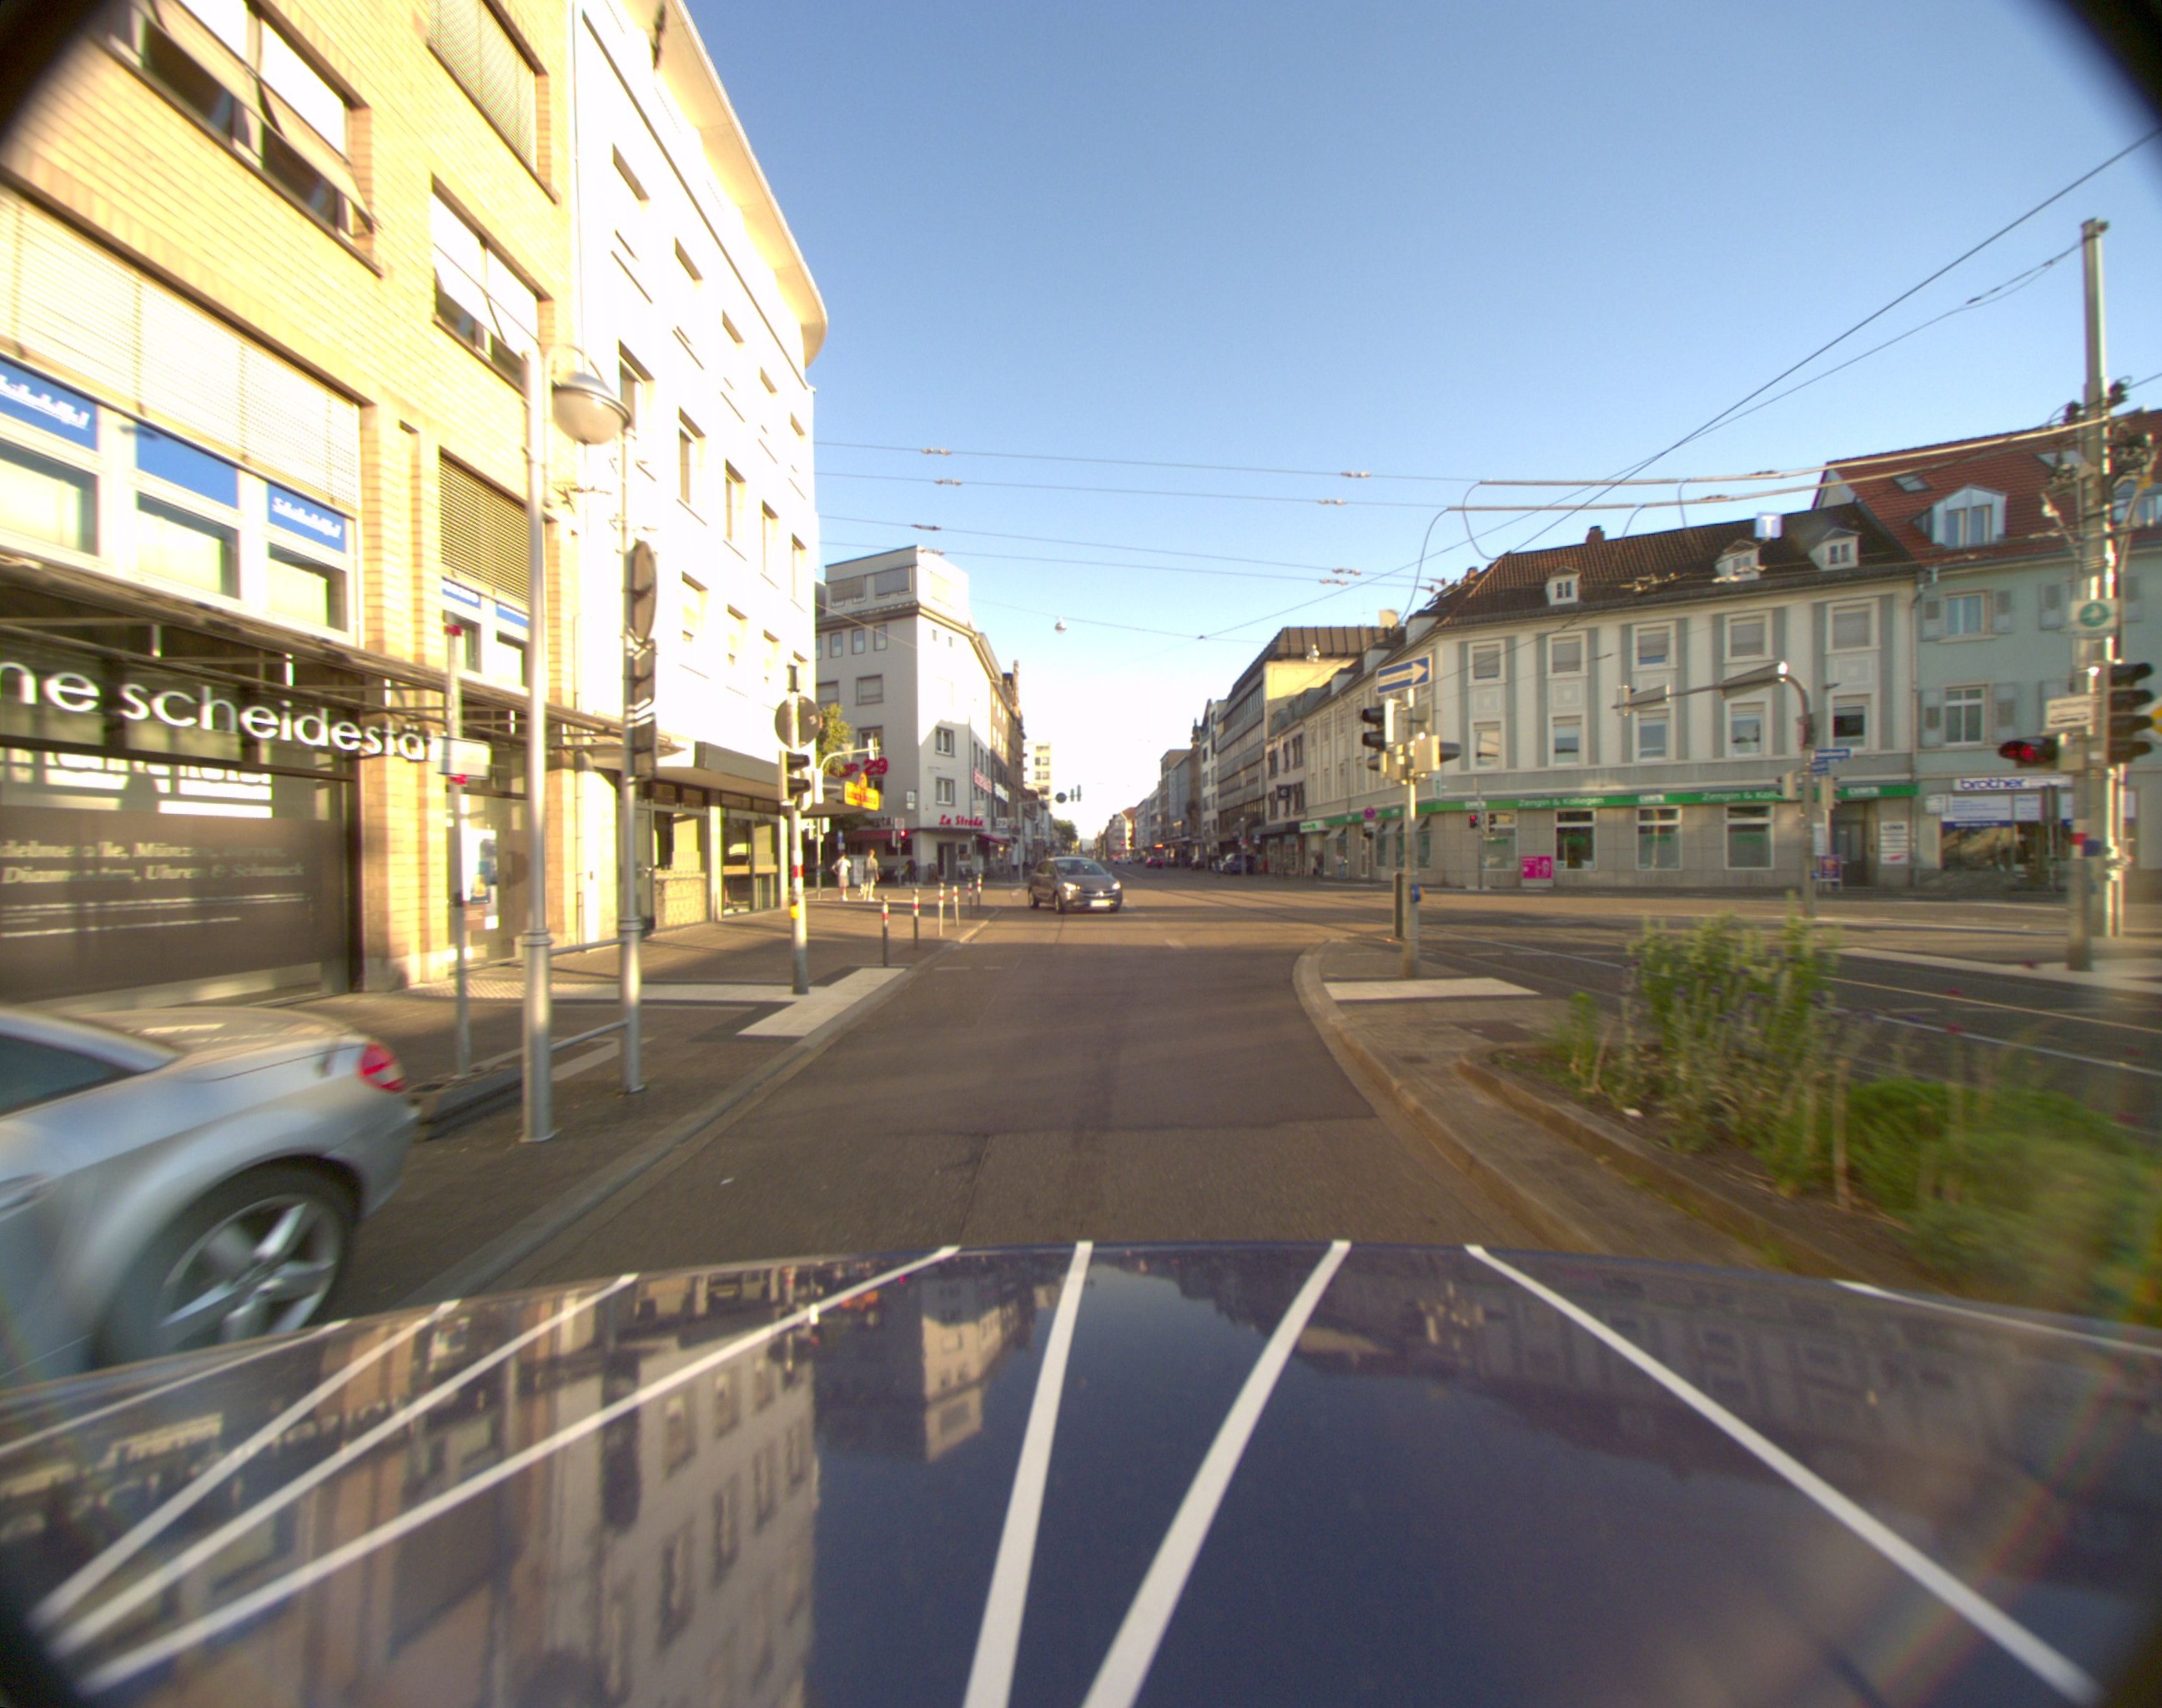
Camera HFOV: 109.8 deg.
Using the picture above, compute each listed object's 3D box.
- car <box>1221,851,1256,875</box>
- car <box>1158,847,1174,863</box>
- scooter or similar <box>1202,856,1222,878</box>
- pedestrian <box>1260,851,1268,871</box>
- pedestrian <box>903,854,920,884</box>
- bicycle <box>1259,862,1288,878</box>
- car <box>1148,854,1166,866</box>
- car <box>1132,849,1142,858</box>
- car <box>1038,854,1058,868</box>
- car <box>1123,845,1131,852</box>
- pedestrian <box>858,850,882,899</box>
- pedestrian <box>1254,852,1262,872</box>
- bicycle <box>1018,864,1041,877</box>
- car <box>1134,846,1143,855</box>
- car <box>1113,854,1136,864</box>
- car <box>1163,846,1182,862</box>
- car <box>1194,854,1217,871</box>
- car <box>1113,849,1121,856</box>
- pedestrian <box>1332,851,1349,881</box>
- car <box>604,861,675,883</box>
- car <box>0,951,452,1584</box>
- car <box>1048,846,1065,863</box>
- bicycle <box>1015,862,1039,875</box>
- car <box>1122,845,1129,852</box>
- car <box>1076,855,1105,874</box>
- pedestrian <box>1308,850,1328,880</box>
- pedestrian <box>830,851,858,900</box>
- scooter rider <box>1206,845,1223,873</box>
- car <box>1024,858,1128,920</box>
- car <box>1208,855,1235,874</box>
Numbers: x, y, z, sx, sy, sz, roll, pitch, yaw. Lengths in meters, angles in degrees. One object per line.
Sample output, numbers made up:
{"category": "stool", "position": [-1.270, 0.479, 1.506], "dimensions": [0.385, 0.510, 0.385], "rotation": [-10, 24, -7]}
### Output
{"category": "car", "position": [12.725, 0.711, 61.670], "dimensions": [1.915, 1.785, 4.128], "rotation": [-2, 1, 0]}
{"category": "car", "position": [12.141, 0.101, 108.782], "dimensions": [1.998, 2.047, 3.999], "rotation": [-1, 2, 1]}
{"category": "scooter or similar", "position": [8.397, 0.829, 48.571], "dimensions": [0.544, 1.343, 1.672], "rotation": [0, 0, 37]}
{"category": "pedestrian", "position": [15.846, 0.632, 65.696], "dimensions": [0.515, 1.724, 0.600], "rotation": [-1, 2, 0]}
{"category": "pedestrian", "position": [-9.295, 0.833, 41.645], "dimensions": [0.799, 1.646, 0.586], "rotation": [-1, 1, -3]}
{"category": "bicycle", "position": [12.403, 1.024, 49.005], "dimensions": [1.740, 1.052, 0.499], "rotation": [-1, -1, 9]}
{"category": "car", "position": [9.524, 0.737, 95.817], "dimensions": [1.895, 1.471, 4.544], "rotation": [1, -1, 1]}
{"category": "car", "position": [13.004, -0.102, 177.300], "dimensions": [1.974, 2.002, 3.998], "rotation": [-1, 2, -2]}
{"category": "car", "position": [-3.577, 0.737, 84.000], "dimensions": [2.041, 1.550, 4.386], "rotation": [-1, 0, -1]}
{"category": "car", "position": [13.654, -1.647, 224.720], "dimensions": [1.999, 2.002, 3.998], "rotation": [-1, 2, -2]}
{"category": "pedestrian", "position": [-7.635, 0.734, 27.534], "dimensions": [0.749, 1.763, 0.586], "rotation": [-1, 1, -7]}
{"category": "pedestrian", "position": [15.301, 0.670, 65.567], "dimensions": [0.509, 1.675, 0.583], "rotation": [-1, 2, -1]}
{"category": "bicycle", "position": [-3.995, 1.292, 59.356], "dimensions": [1.762, 0.944, 0.443], "rotation": [0, 2, -6]}
{"category": "car", "position": [13.905, -0.908, 183.601], "dimensions": [1.975, 2.181, 4.132], "rotation": [-1, 2, 0]}
{"category": "car", "position": [8.072, 0.871, 140.459], "dimensions": [3.828, 1.739, 1.809], "rotation": [0, 2, 20]}
{"category": "car", "position": [12.260, -0.031, 102.038], "dimensions": [1.998, 2.002, 3.999], "rotation": [-1, 2, 1]}
{"category": "car", "position": [12.979, 0.854, 79.522], "dimensions": [1.819, 1.548, 3.999], "rotation": [-1, 2, 1]}
{"category": "car", "position": [11.239, -0.430, 237.014], "dimensions": [1.999, 2.002, 3.998], "rotation": [-1, 2, -2]}
{"category": "pedestrian", "position": [14.572, 0.651, 42.645], "dimensions": [0.826, 1.631, 0.815], "rotation": [-2, 0, 17]}
{"category": "car", "position": [-29.227, 1.158, 50.299], "dimensions": [4.407, 1.385, 1.808], "rotation": [0, 1, 23]}
{"category": "car", "position": [-3.333, 1.030, 0.874], "dimensions": [1.677, 1.275, 4.064], "rotation": [-1, 1, 3]}
{"category": "car", "position": [-3.252, 0.081, 100.864], "dimensions": [2.041, 2.105, 4.386], "rotation": [-1, 0, -1]}
{"category": "bicycle", "position": [-4.104, 1.101, 57.862], "dimensions": [1.829, 1.025, 0.443], "rotation": [1, 0, -6]}
{"category": "car", "position": [13.470, -1.825, 230.126], "dimensions": [1.999, 2.002, 3.998], "rotation": [-1, 2, -2]}
{"category": "car", "position": [0.720, 0.775, 56.474], "dimensions": [1.914, 1.350, 3.747], "rotation": [-2, 0, 3]}
{"category": "pedestrian", "position": [13.700, 0.644, 43.913], "dimensions": [0.827, 1.718, 0.813], "rotation": [-2, 1, 0]}
{"category": "pedestrian", "position": [-8.634, 0.768, 27.715], "dimensions": [0.749, 1.763, 0.639], "rotation": [-1, 1, 3]}
{"category": "scooter rider", "position": [8.571, 0.298, 48.756], "dimensions": [0.811, 1.797, 0.790], "rotation": [1, 1, 37]}
{"category": "car", "position": [-0.228, 0.860, 20.631], "dimensions": [1.589, 1.445, 3.835], "rotation": [-1, 1, -20]}
{"category": "car", "position": [12.495, 0.885, 67.772], "dimensions": [1.701, 1.614, 4.000], "rotation": [-1, 0, 0]}
